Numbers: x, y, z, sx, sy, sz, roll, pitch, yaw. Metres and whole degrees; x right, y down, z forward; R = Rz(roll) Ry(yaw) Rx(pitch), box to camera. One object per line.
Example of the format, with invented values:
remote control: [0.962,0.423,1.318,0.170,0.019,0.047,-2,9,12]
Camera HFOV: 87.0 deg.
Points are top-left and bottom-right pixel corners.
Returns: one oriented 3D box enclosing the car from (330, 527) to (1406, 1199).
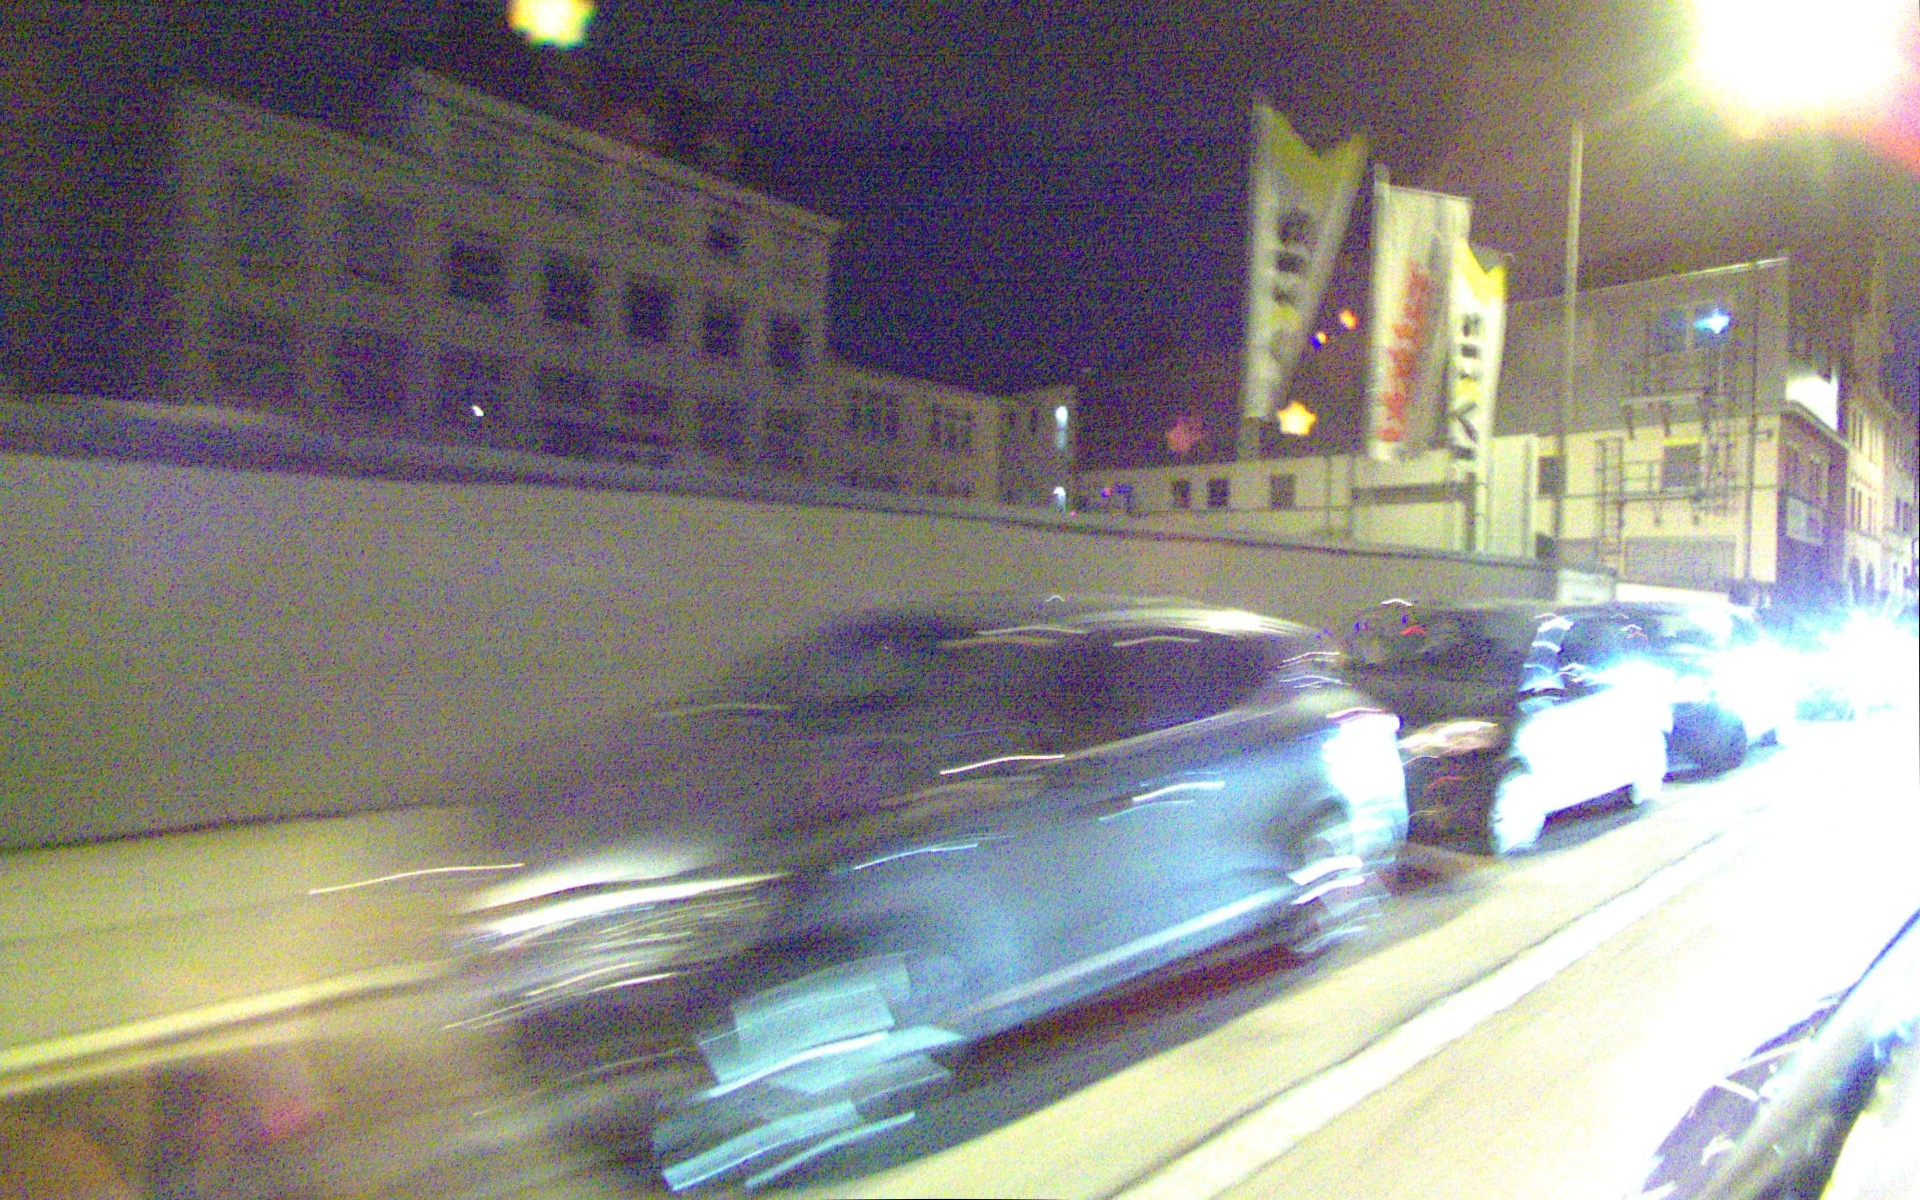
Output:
car: [-0.014,0.571,3.803,3.823,1.485,1.598,-1,1,-40]

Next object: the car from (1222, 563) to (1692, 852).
car: [3.564,0.521,6.990,3.653,1.485,1.598,-1,1,-40]

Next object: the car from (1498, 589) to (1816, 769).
car: [7.119,0.623,10.206,3.824,1.444,1.782,-1,1,-41]

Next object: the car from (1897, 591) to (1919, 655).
car: [26.624,0.617,27.136,4.149,1.618,1.822,-1,4,-43]

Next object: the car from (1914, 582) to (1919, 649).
car: [30.604,0.458,30.540,5.277,1.952,2.076,-1,3,-41]

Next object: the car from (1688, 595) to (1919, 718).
car: [12.075,0.669,14.380,4.401,1.444,1.782,-1,1,-40]
